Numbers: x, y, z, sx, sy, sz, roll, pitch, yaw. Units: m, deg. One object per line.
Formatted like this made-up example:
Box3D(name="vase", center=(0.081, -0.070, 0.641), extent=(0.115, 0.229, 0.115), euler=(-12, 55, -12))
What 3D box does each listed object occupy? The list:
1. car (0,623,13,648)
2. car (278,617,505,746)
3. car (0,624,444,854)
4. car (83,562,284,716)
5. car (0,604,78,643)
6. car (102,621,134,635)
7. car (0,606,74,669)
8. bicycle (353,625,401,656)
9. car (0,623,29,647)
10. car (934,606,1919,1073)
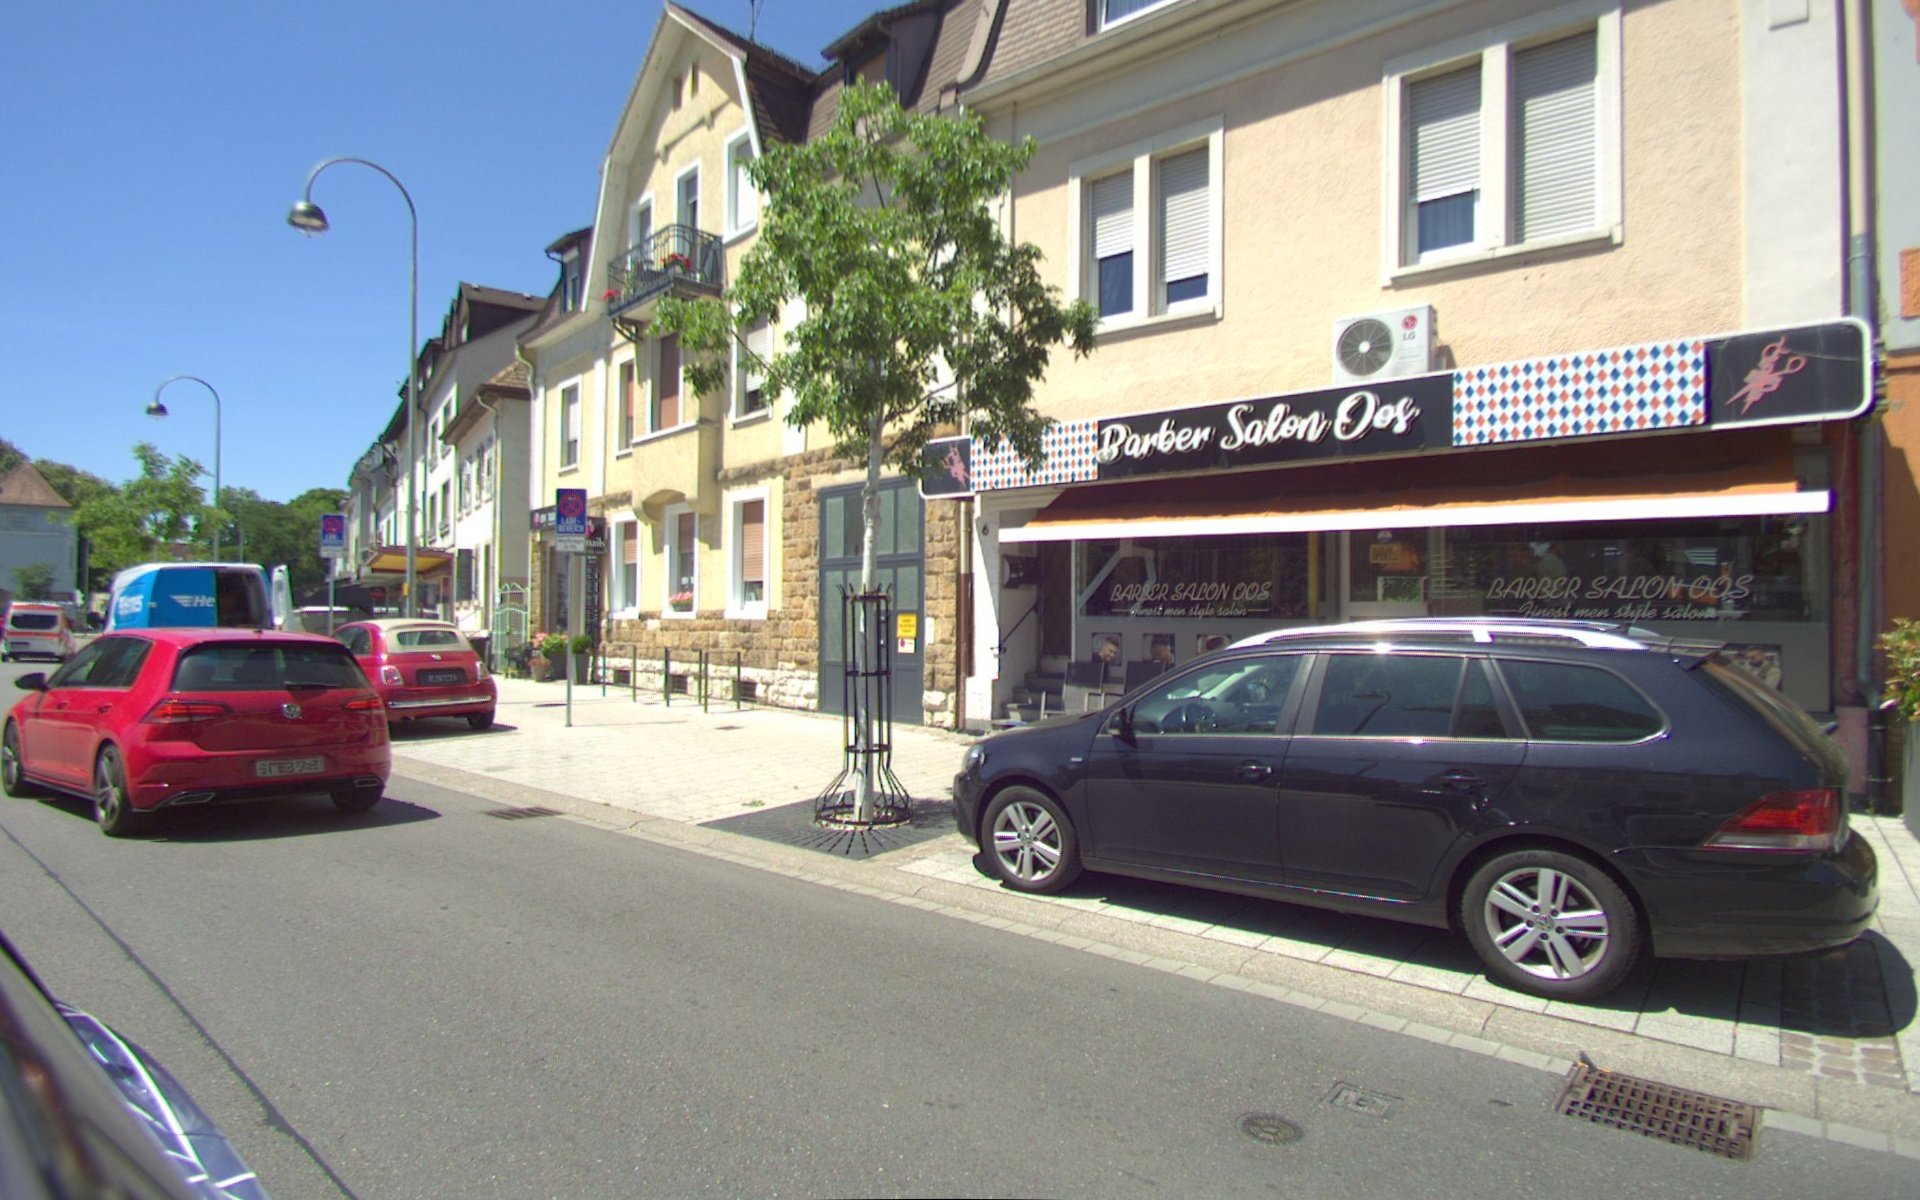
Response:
Box3D(name="car", center=(-61.343, 2.151, 62.627), extent=(3.757, 1.473, 1.656), euler=(3, -3, -34))
Box3D(name="car", center=(-7.882, 1.013, 13.933), extent=(3.512, 1.532, 1.544), euler=(0, -1, 39))
Box3D(name="car", center=(-6.211, 0.956, 8.310), extent=(3.972, 1.438, 1.898), euler=(-1, -4, 37))
Box3D(name="car", center=(-14.795, 0.677, 19.137), extent=(5.502, 2.517, 2.070), euler=(-1, -1, 42))
Box3D(name="car", center=(-68.970, 1.779, 75.260), extent=(4.788, 2.757, 1.856), euler=(2, -2, -33))
Box3D(name="car", center=(-95.539, 3.132, 114.824), extent=(3.849, 1.465, 1.605), euler=(1, -3, 31))
Box3D(name="car", center=(-37.517, 1.535, 40.996), extent=(2.129, 2.380, 5.257), euler=(3, -4, -39))
Box3D(name="bicycle", center=(-25.842, 1.784, 44.869), extent=(1.741, 1.243, 0.618), euler=(-2, 0, -34))
Box3D(name="car", center=(-63.886, 2.248, 66.135), extent=(4.289, 1.563, 1.656), euler=(3, -3, -36))
Box3D(name="car", center=(2.128, 0.826, 5.363), extent=(4.333, 1.493, 1.896), euler=(-1, 0, 39))
